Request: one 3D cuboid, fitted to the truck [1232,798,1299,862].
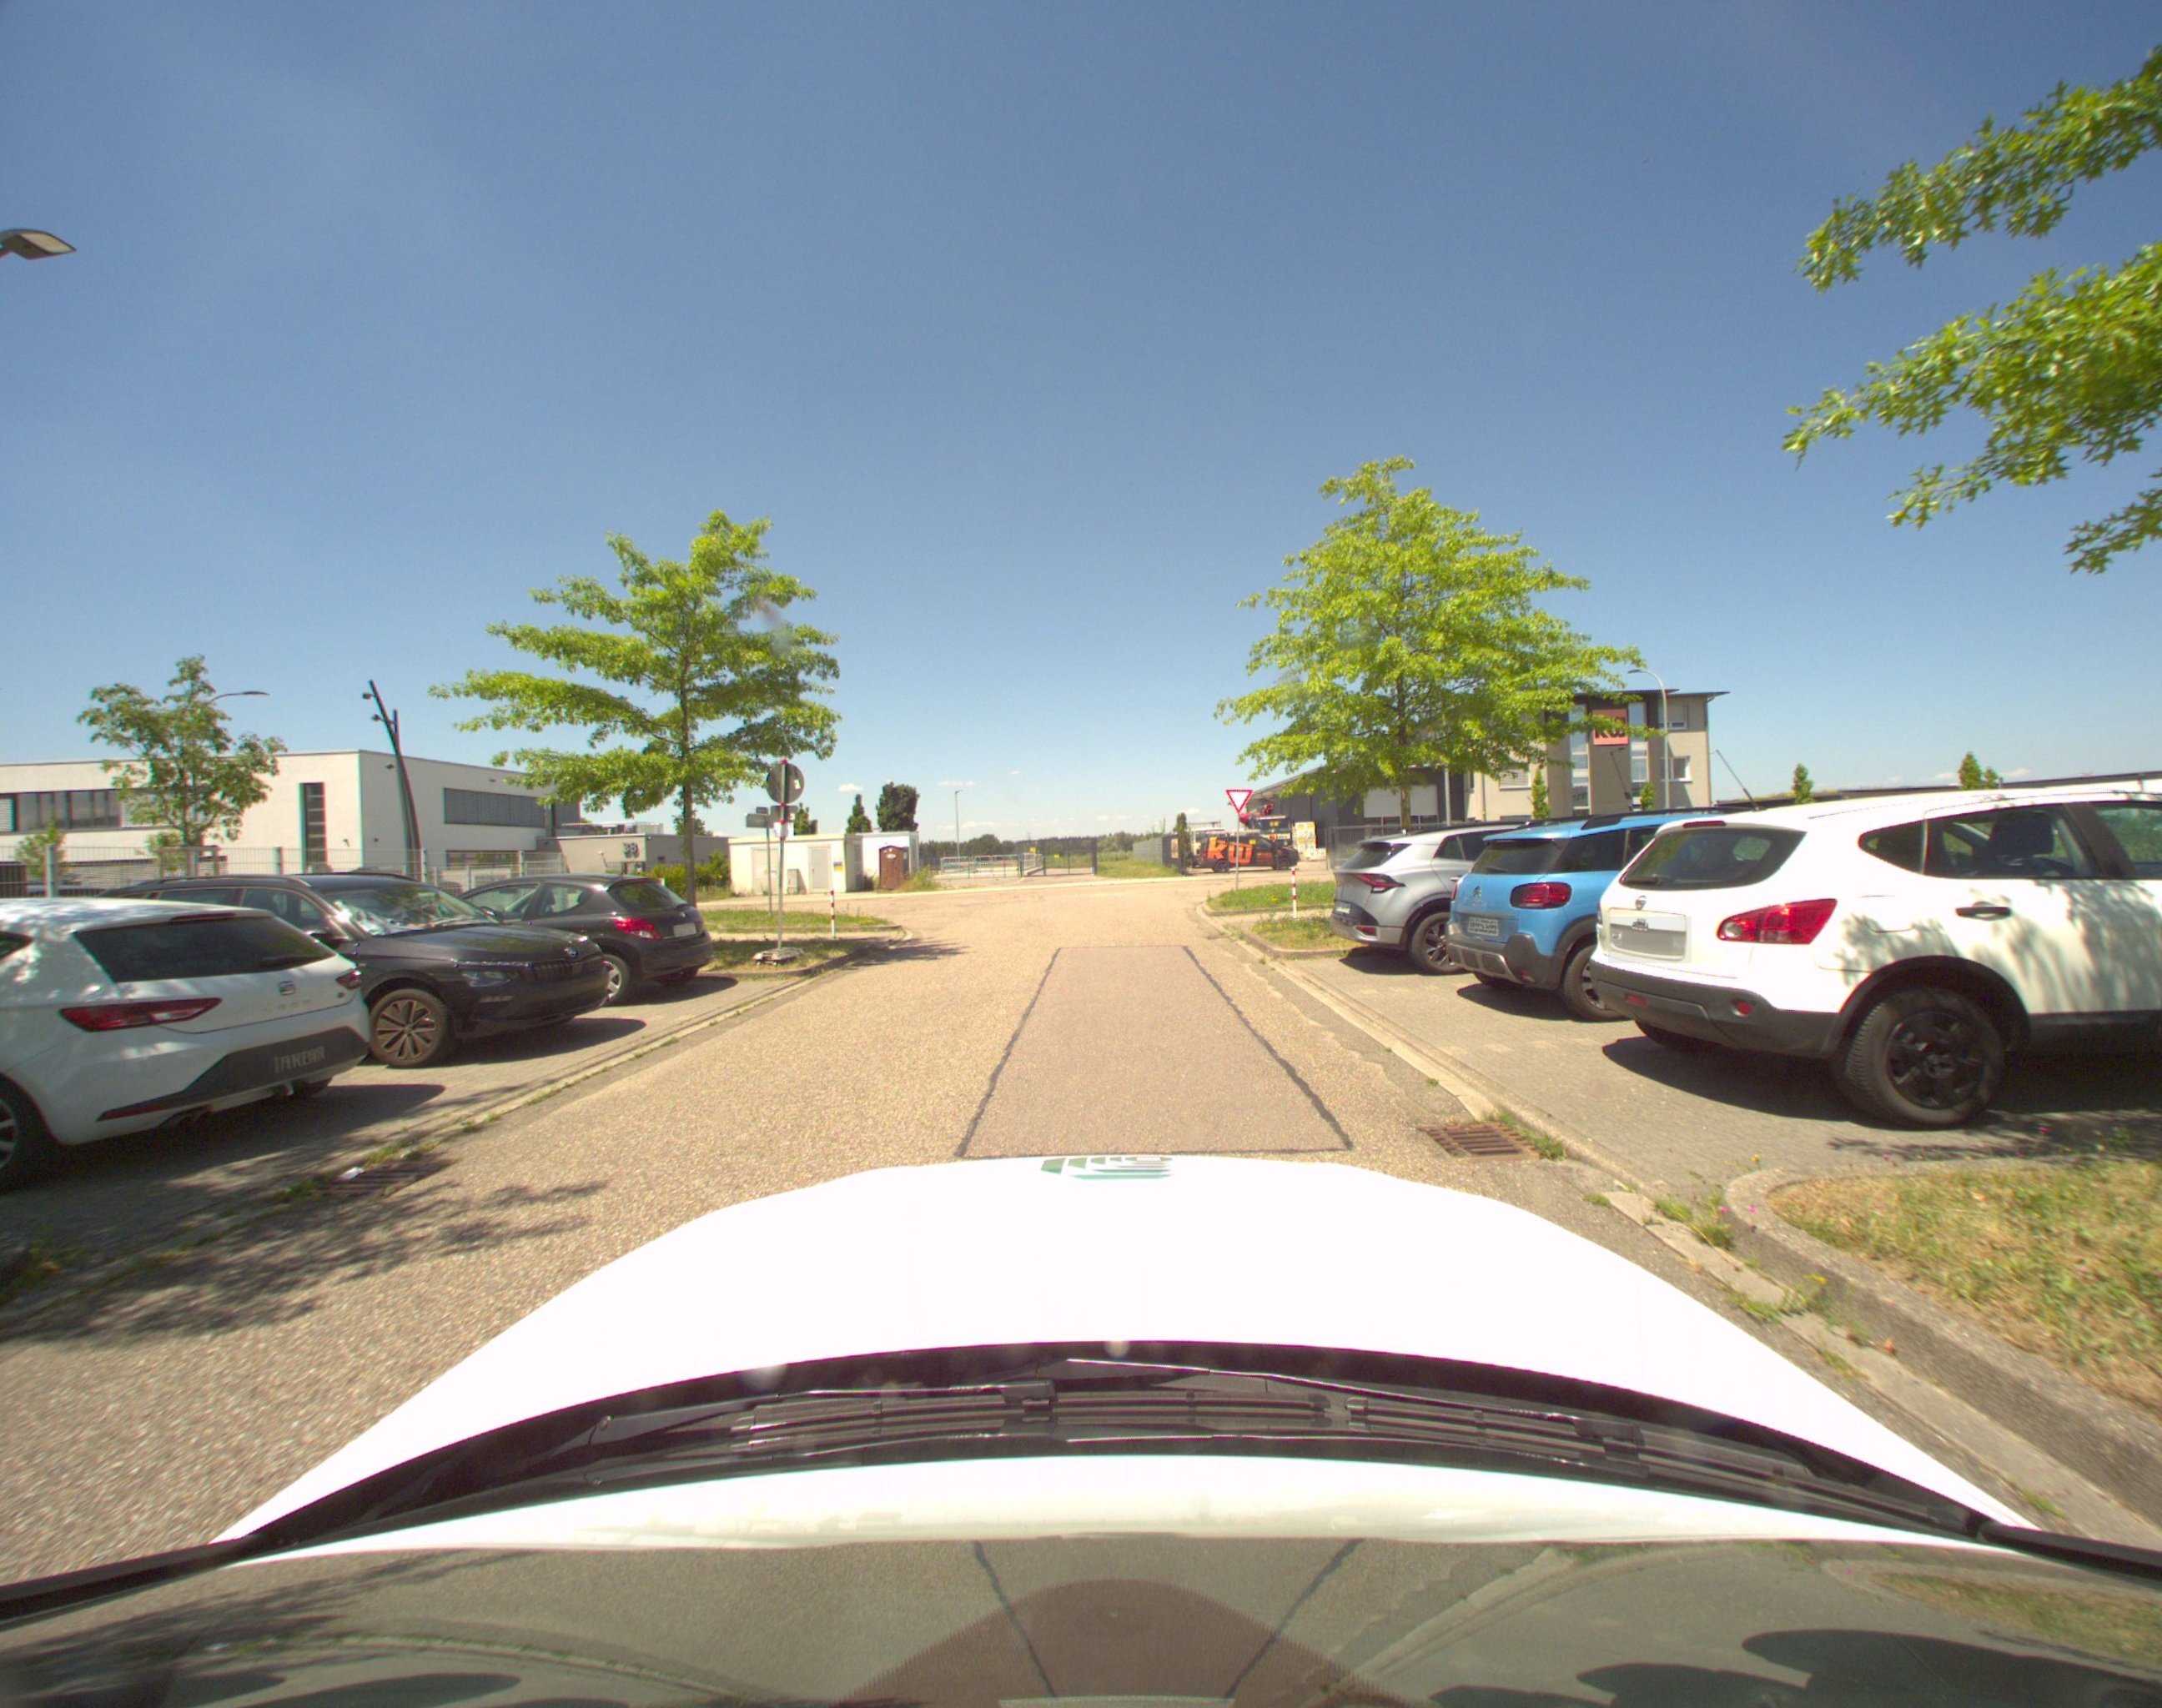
[{"bbox_3d":[12.325,-1.534,55.040,2.911,3.929,6.937,-2,0,1],"label":"truck"}]

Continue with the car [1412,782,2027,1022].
[{"bbox_3d":[5.334,0.376,7.257,3.973,1.644,1.838,-3,0,0],"label":"car"}]

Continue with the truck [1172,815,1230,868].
[{"bbox_3d":[7.604,-0.768,52.358,2.717,3.061,6.937,-2,0,1],"label":"truck"}]

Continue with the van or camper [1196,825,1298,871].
[{"bbox_3d":[8.696,-0.328,42.993,4.919,2.163,2.001,-3,1,1],"label":"van or camper"}]

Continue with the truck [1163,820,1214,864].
[{"bbox_3d":[7.951,-0.874,60.891,2.911,2.937,6.937,-3,0,1],"label":"truck"}]

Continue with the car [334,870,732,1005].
[{"bbox_3d":[-6.431,0.934,9.891,3.615,1.436,1.725,0,0,-1],"label":"car"}]

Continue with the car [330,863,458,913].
[{"bbox_3d":[-31.484,1.545,37.424,3.977,2.013,1.999,-3,0,-2],"label":"car"}]

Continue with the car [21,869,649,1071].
[{"bbox_3d":[-6.327,0.923,7.308,3.916,1.520,1.784,0,0,-2],"label":"car"}]

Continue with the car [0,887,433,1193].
[{"bbox_3d":[-6.702,0.959,4.878,4.065,1.424,1.872,0,0,-2],"label":"car"}]

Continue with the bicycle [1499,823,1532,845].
[{"bbox_3d":[25.561,-1.165,47.907,1.804,1.185,0.442,-3,0,-13],"label":"bicycle"}]

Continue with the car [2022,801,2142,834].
[{"bbox_3d":[47.919,-1.735,39.051,3.616,1.384,1.679,-3,1,2],"label":"car"}]

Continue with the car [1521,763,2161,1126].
[{"bbox_3d":[5.153,0.387,4.772,4.052,1.607,1.902,-3,-1,2],"label":"car"}]

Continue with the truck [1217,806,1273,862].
[{"bbox_3d":[12.570,-1.488,62.929,2.911,3.929,6.937,-2,0,1],"label":"truck"}]

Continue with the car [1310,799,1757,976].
[{"bbox_3d":[5.166,0.368,9.782,4.263,1.644,1.851,-4,0,1],"label":"car"}]
